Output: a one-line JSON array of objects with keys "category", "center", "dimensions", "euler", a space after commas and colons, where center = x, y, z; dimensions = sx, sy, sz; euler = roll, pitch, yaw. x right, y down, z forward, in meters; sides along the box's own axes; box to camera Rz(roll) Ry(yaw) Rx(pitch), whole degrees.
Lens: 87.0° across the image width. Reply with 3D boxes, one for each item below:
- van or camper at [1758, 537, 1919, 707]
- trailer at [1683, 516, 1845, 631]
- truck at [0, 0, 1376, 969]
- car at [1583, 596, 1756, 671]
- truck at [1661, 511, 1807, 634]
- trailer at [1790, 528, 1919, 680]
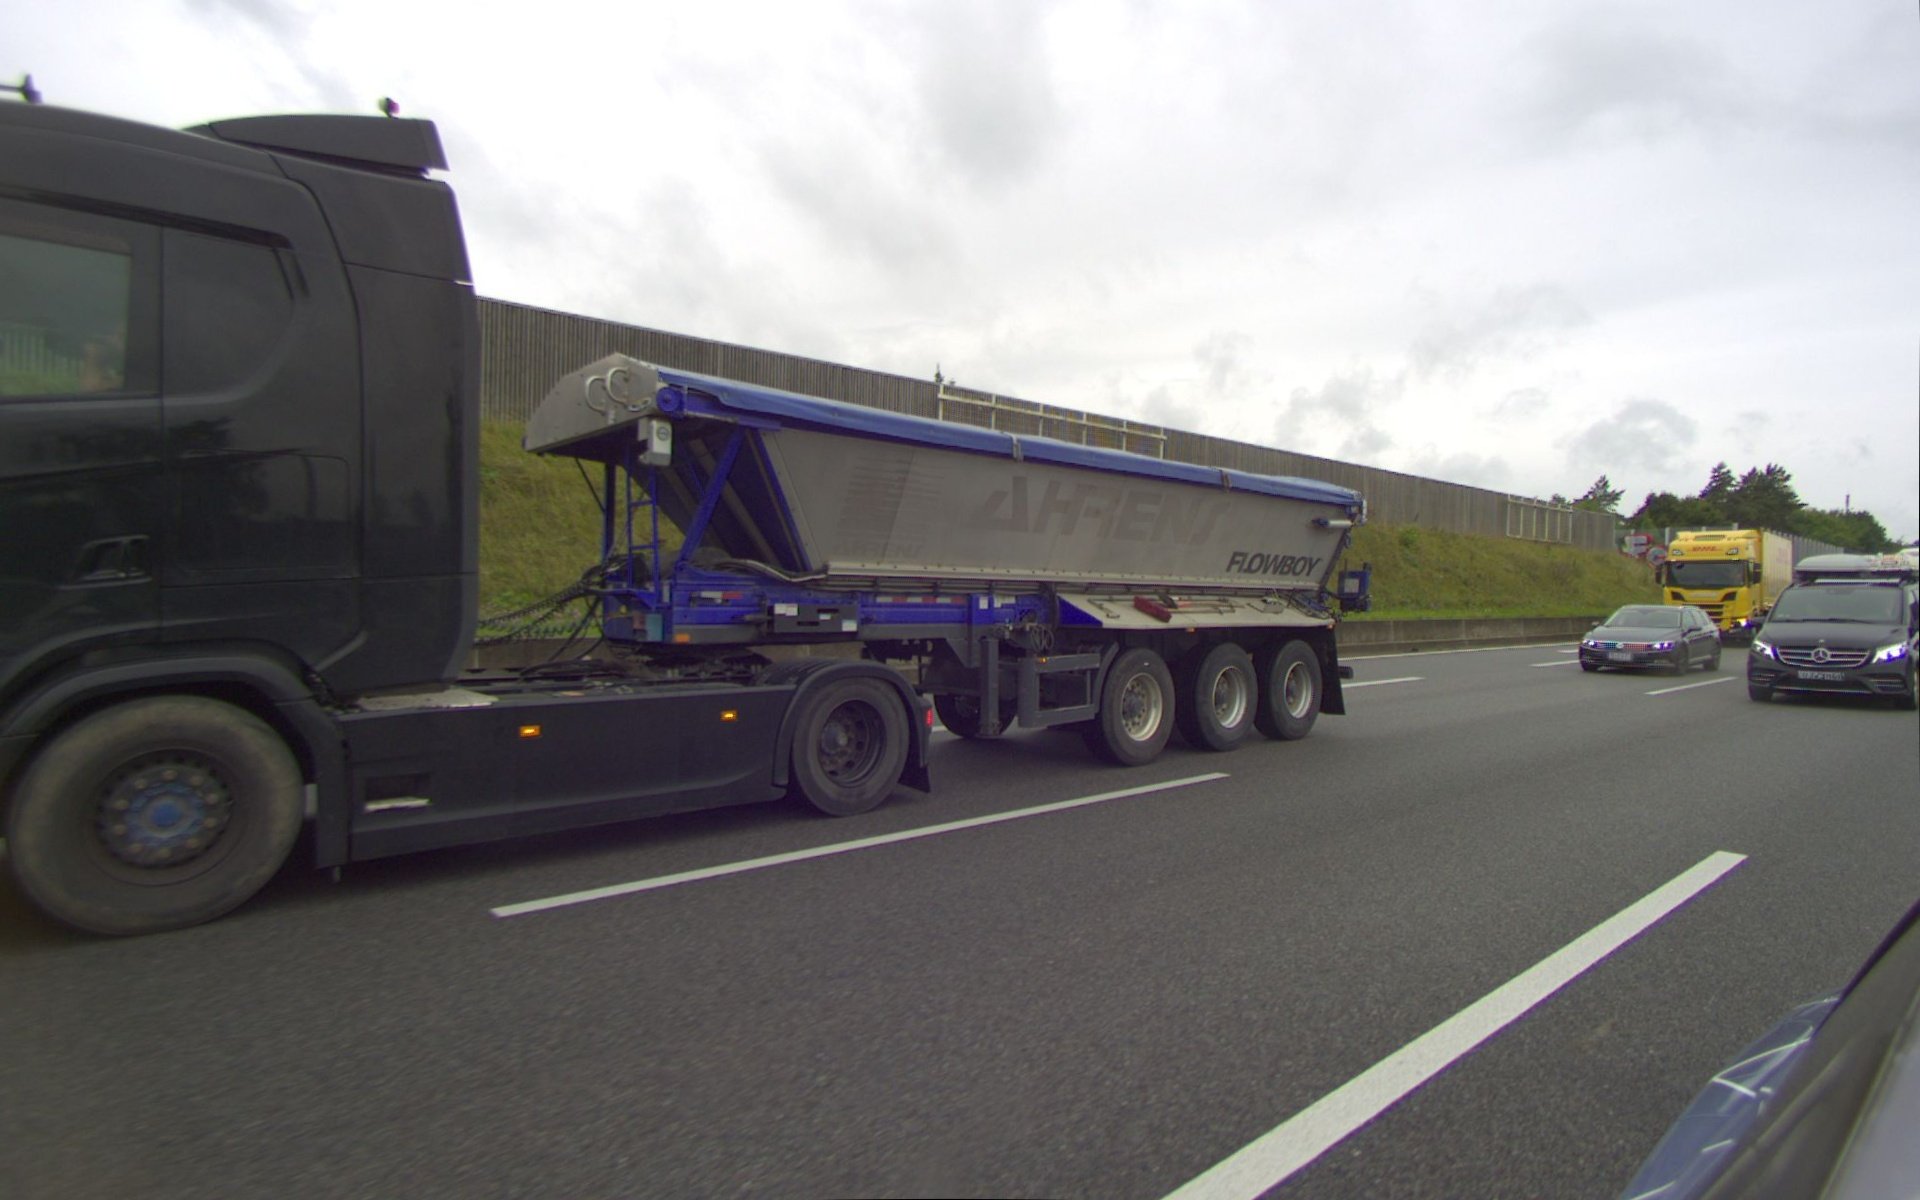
[{"category": "van or camper", "center": [14.514, 0.306, 16.117], "dimensions": [5.581, 2.298, 1.893], "euler": [1, 0, -42]}, {"category": "trailer", "center": [33.426, -0.946, 41.612], "dimensions": [16.402, 4.003, 2.654], "euler": [0, 0, -43]}, {"category": "truck", "center": [-0.744, -0.616, 8.503], "dimensions": [12.497, 4.000, 2.816], "euler": [0, 0, -43]}, {"category": "car", "center": [15.662, 0.673, 22.208], "dimensions": [5.197, 1.445, 1.942], "euler": [0, -1, -41]}, {"category": "truck", "center": [28.517, -0.895, 37.110], "dimensions": [9.168, 4.008, 2.689], "euler": [0, 0, -43]}, {"category": "trailer", "center": [19.349, 0.077, 20.545], "dimensions": [7.381, 2.675, 2.725], "euler": [0, 1, -42]}]
